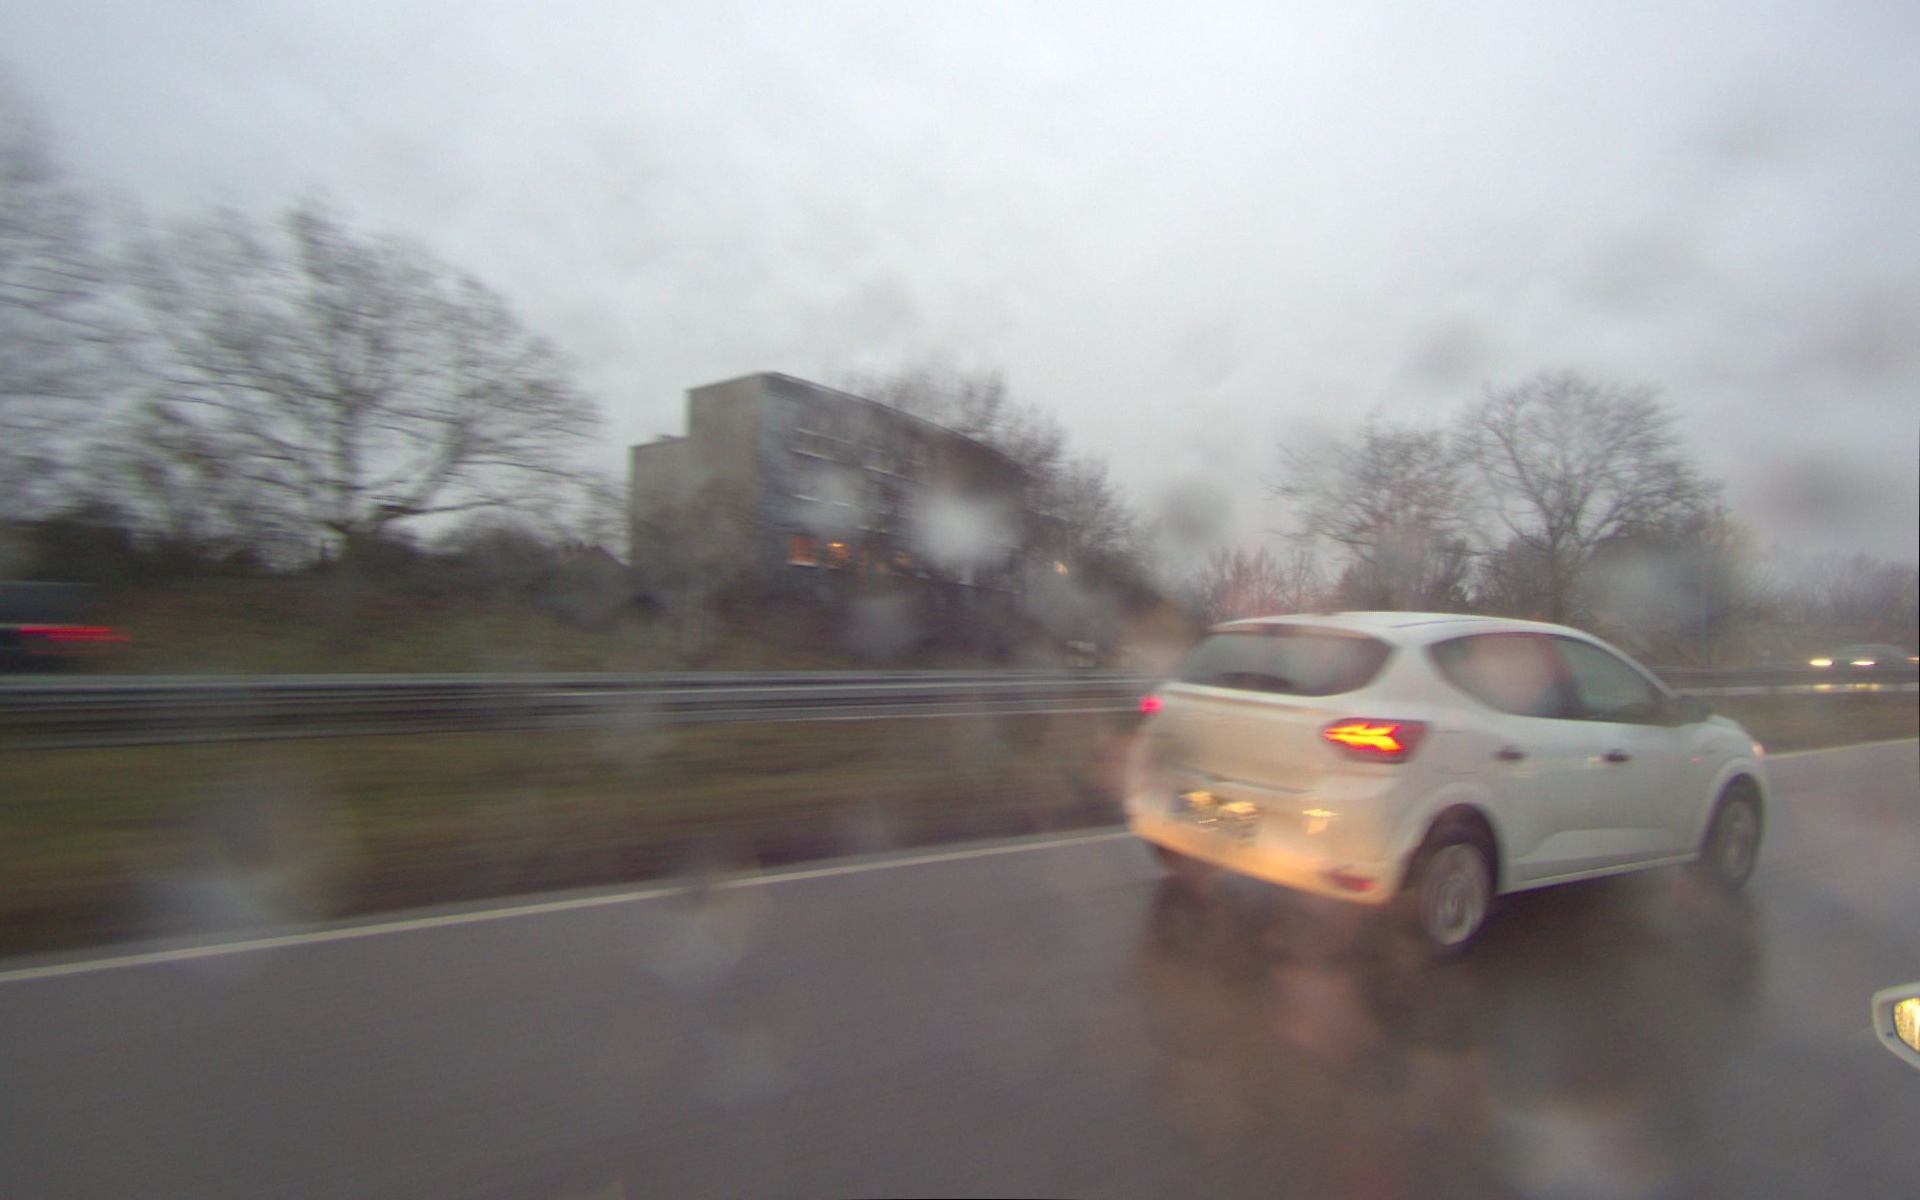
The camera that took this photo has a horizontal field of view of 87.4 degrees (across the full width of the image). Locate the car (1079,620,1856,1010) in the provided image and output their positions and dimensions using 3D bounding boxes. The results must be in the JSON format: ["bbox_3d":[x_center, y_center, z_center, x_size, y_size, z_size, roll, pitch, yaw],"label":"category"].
[{"bbox_3d":[2.868,0.872,5.517,4.172,1.459,1.717,1,-2,-28],"label":"car"}]

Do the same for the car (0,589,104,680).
[{"bbox_3d":[-18.648,0.576,18.086,4.631,1.630,1.773,2,-2,-33],"label":"car"}]

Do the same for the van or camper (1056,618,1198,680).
[{"bbox_3d":[5.169,1.517,30.943,4.155,1.807,1.643,2,-2,-28],"label":"van or camper"}]
